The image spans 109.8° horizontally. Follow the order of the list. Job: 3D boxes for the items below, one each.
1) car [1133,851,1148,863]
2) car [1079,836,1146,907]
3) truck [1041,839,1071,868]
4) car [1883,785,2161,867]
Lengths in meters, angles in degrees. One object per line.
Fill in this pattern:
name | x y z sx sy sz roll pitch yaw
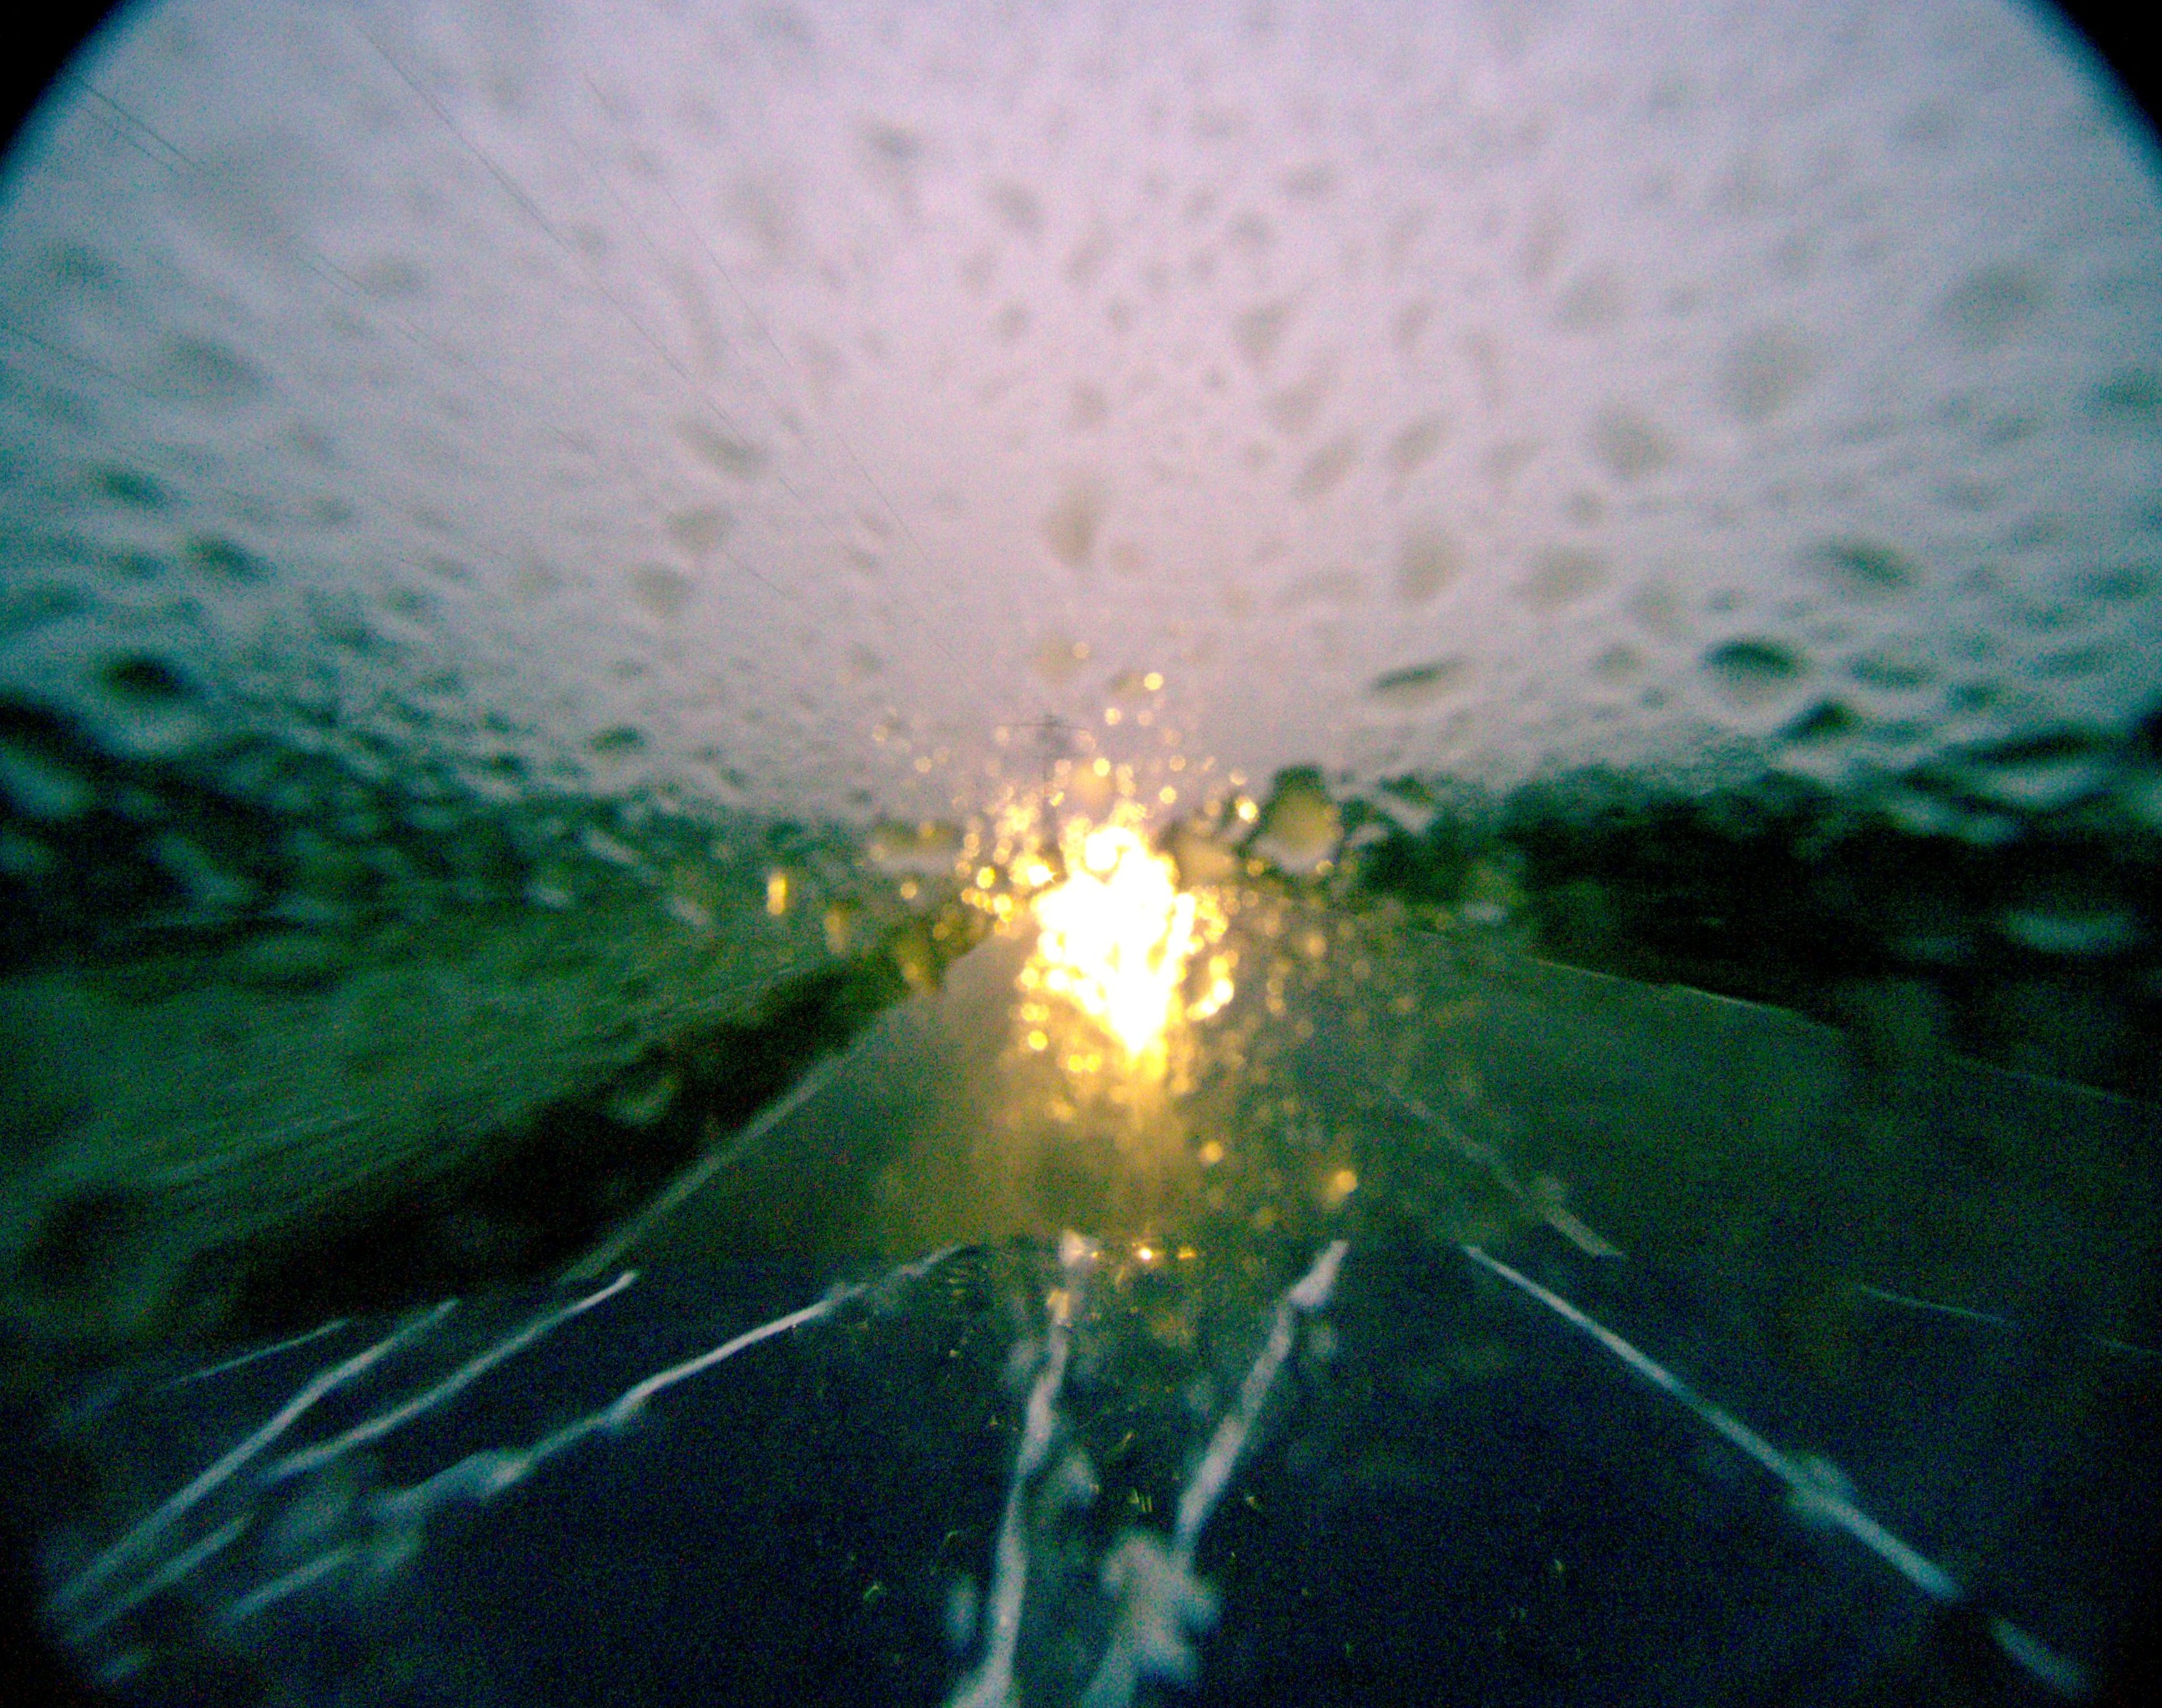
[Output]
car | 7.768 0.380 99.507 1.790 1.582 4.487 -2 0 2
car | 0.923 0.479 24.017 1.857 2.002 3.999 -2 1 0
truck | -2.649 -0.118 82.887 2.540 2.961 7.858 -2 1 2
car | 27.007 -0.756 21.697 2.318 2.002 5.603 -2 1 0
